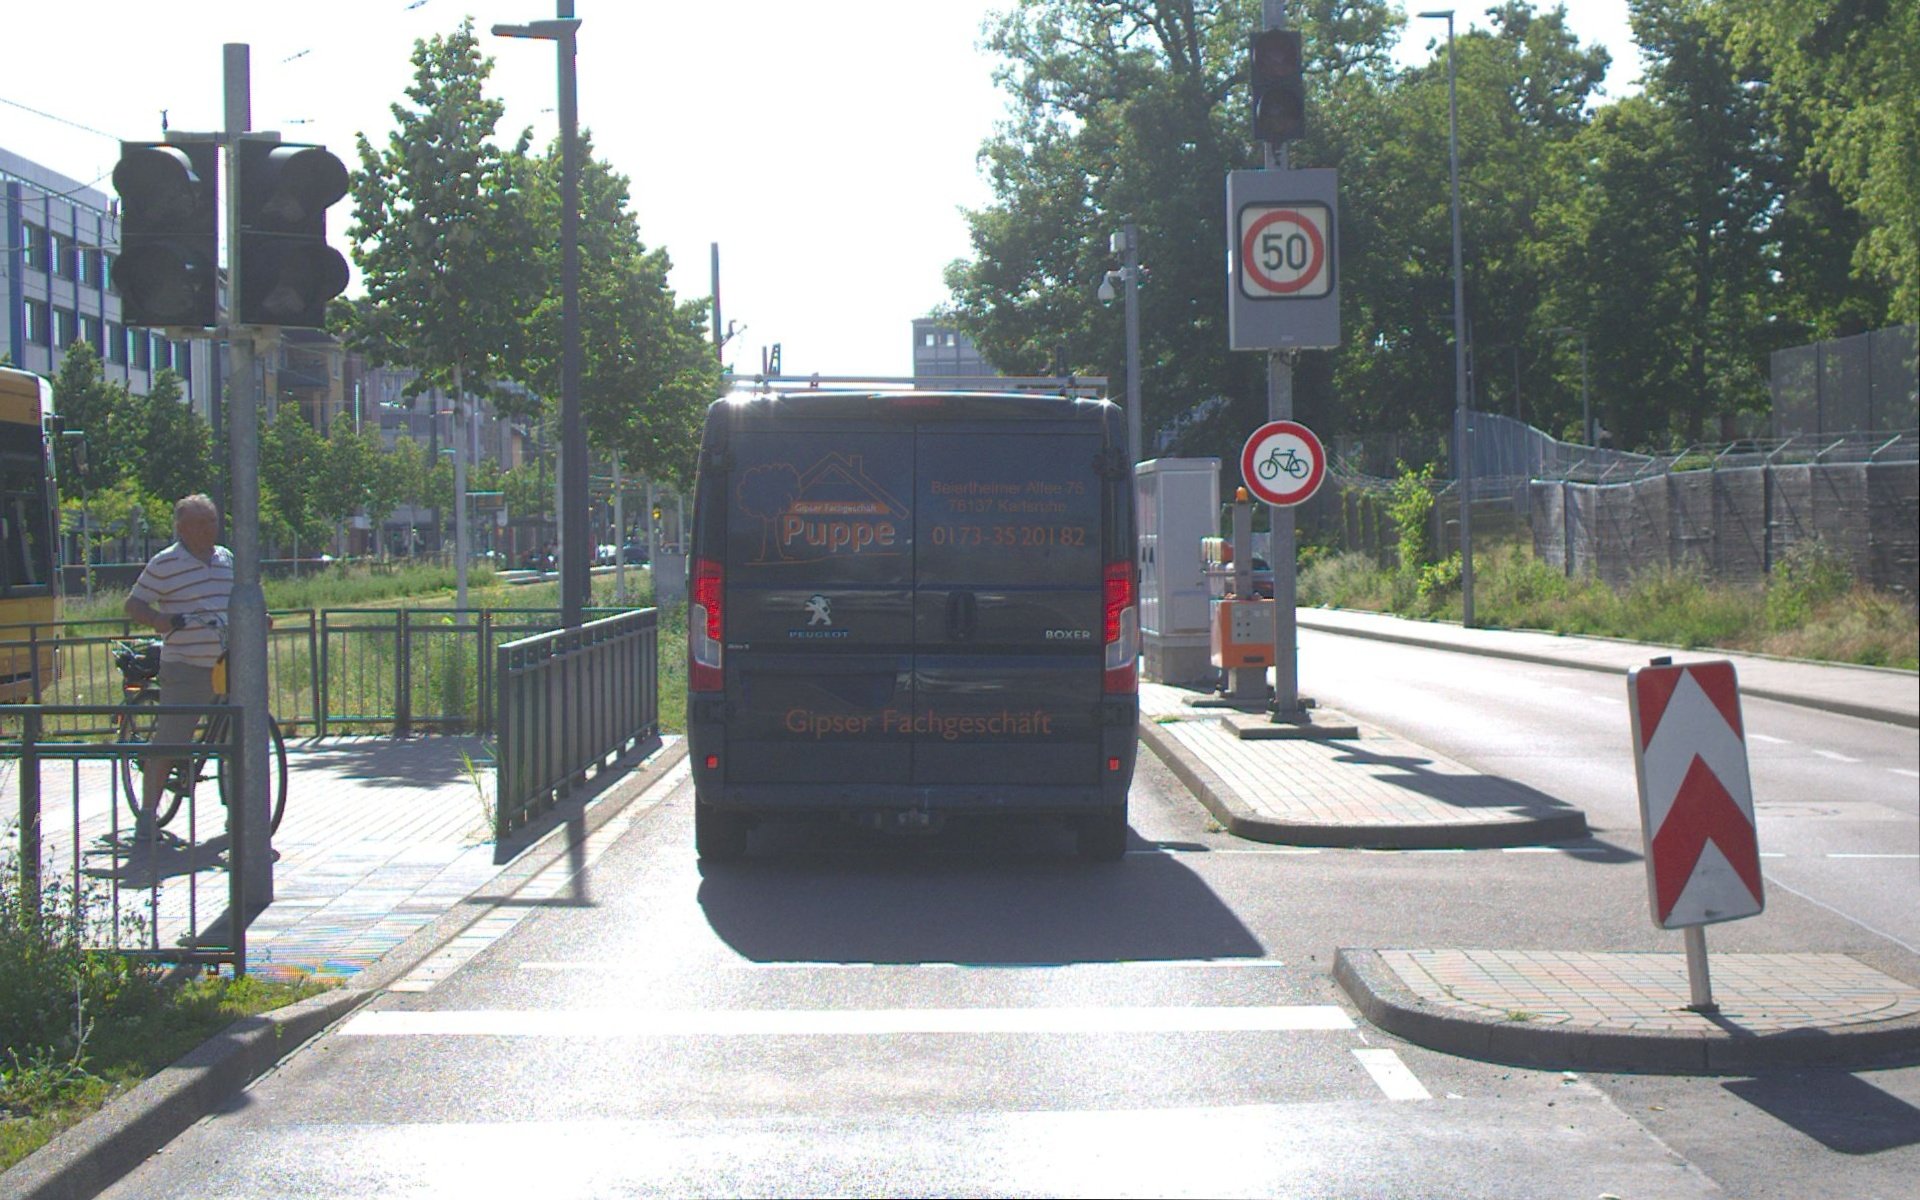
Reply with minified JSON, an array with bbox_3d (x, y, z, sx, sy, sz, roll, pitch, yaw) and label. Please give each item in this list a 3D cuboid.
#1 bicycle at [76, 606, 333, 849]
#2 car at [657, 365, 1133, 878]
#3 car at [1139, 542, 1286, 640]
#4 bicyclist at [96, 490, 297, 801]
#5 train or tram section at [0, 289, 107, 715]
[{"bbox_3d":[-3.778,0.594,17.060,0.732,1.087,2.083,0,1,-27],"label":"bicycle"},{"bbox_3d":[-0.340,0.061,17.063,2.082,2.241,4.000,0,1,-2],"label":"car"},{"bbox_3d":[3.850,-0.168,52.925,1.763,1.457,4.001,0,1,-3],"label":"car"},{"bbox_3d":[-3.821,0.213,17.182,0.826,1.507,0.730,0,1,-26],"label":"bicyclist"},{"bbox_3d":[-9.200,-0.809,27.582,1.993,3.656,11.684,0,1,-1],"label":"train or tram section"}]
